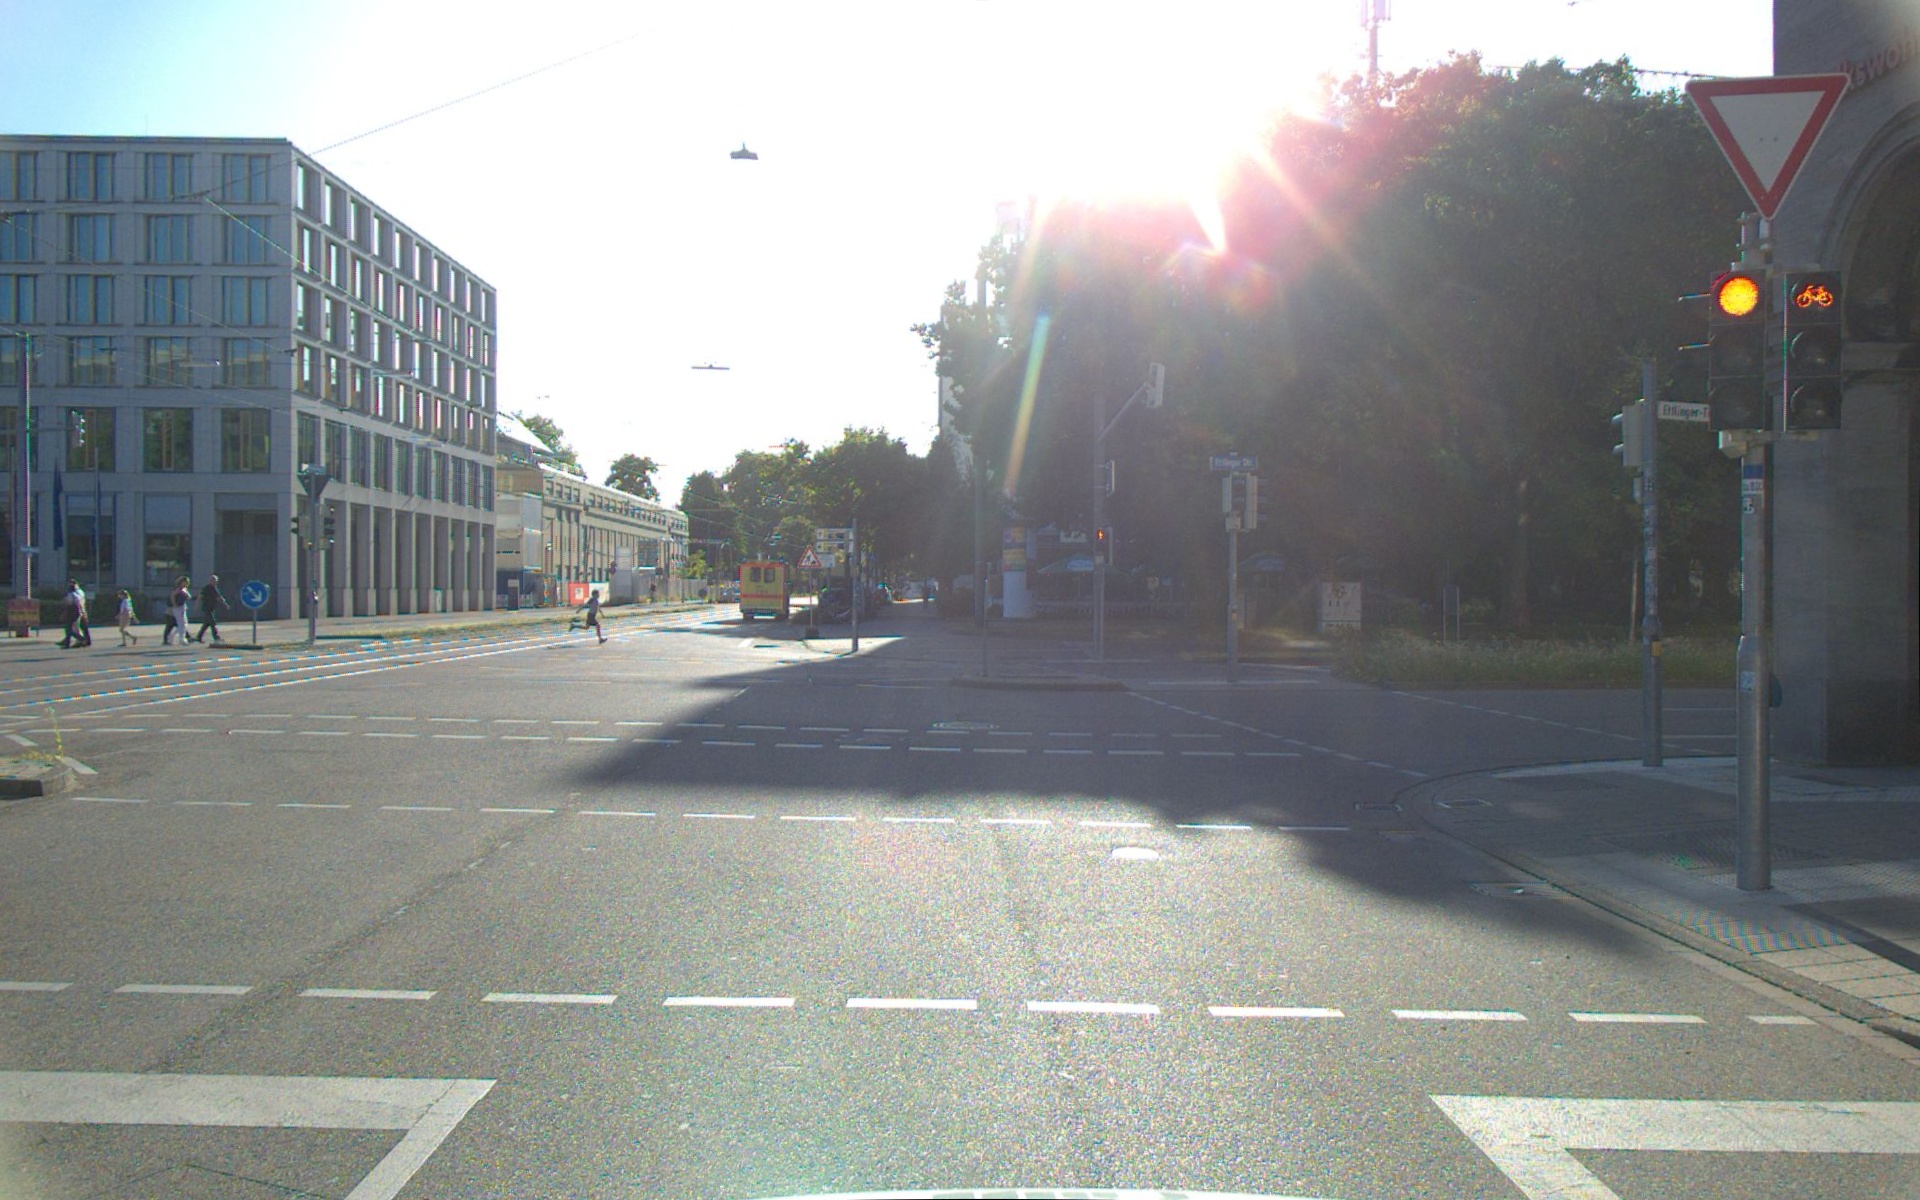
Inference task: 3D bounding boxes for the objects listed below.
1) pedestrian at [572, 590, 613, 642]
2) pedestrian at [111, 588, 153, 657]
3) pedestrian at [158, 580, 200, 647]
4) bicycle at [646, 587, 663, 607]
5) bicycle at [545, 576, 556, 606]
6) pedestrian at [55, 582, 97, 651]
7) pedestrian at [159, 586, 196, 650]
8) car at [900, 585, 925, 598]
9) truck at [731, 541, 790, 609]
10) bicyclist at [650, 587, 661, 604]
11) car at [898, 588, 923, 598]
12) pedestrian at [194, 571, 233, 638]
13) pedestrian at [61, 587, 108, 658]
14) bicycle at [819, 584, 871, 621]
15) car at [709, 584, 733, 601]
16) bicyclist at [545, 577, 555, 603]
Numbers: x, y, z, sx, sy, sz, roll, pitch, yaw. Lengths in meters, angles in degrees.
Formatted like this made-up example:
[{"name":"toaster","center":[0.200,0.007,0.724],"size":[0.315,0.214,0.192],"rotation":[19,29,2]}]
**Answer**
[{"name":"pedestrian","center":[-9.579,0.419,43.138],"size":[0.975,1.340,0.765],"rotation":[0,0,-9]},{"name":"pedestrian","center":[-22.353,0.608,44.677],"size":[0.851,1.835,0.532],"rotation":[0,0,4]},{"name":"pedestrian","center":[-19.635,0.326,41.602],"size":[0.777,1.673,0.620],"rotation":[0,0,-5]},{"name":"bicycle","center":[-24.936,-0.243,135.063],"size":[0.675,1.538,2.945],"rotation":[1,0,2]},{"name":"bicycle","center":[-32.180,-0.674,129.849],"size":[0.559,2.336,1.422],"rotation":[0,0,-2]},{"name":"pedestrian","center":[-23.733,0.434,44.417],"size":[0.723,1.835,0.716],"rotation":[0,0,4]},{"name":"pedestrian","center":[-20.677,0.471,43.698],"size":[0.680,1.673,0.621],"rotation":[0,0,0]},{"name":"car","center":[-6.105,-1.056,213.354],"size":[3.152,1.616,1.445],"rotation":[1,0,-5]},{"name":"truck","center":[-9.385,-1.149,78.253],"size":[2.664,3.068,6.480],"rotation":[0,0,-6]},{"name":"bicyclist","center":[-24.889,-0.345,135.134],"size":[0.675,1.351,1.000],"rotation":[1,0,2]},{"name":"car","center":[-6.349,-0.894,211.120],"size":[3.153,1.285,1.372],"rotation":[1,0,-2]},{"name":"pedestrian","center":[-20.327,0.120,45.050],"size":[0.732,1.792,0.678],"rotation":[-1,-1,4]},{"name":"pedestrian","center":[-22.826,0.582,43.130],"size":[0.852,1.835,0.664],"rotation":[0,0,4]},{"name":"bicycle","center":[-5.649,0.139,81.307],"size":[2.495,1.774,1.037],"rotation":[1,0,-1]},{"name":"car","center":[-22.546,-0.714,156.062],"size":[1.856,1.635,4.498],"rotation":[0,0,-3]},{"name":"bicyclist","center":[-32.177,-0.791,129.789],"size":[0.559,2.059,0.761],"rotation":[0,0,-2]}]
